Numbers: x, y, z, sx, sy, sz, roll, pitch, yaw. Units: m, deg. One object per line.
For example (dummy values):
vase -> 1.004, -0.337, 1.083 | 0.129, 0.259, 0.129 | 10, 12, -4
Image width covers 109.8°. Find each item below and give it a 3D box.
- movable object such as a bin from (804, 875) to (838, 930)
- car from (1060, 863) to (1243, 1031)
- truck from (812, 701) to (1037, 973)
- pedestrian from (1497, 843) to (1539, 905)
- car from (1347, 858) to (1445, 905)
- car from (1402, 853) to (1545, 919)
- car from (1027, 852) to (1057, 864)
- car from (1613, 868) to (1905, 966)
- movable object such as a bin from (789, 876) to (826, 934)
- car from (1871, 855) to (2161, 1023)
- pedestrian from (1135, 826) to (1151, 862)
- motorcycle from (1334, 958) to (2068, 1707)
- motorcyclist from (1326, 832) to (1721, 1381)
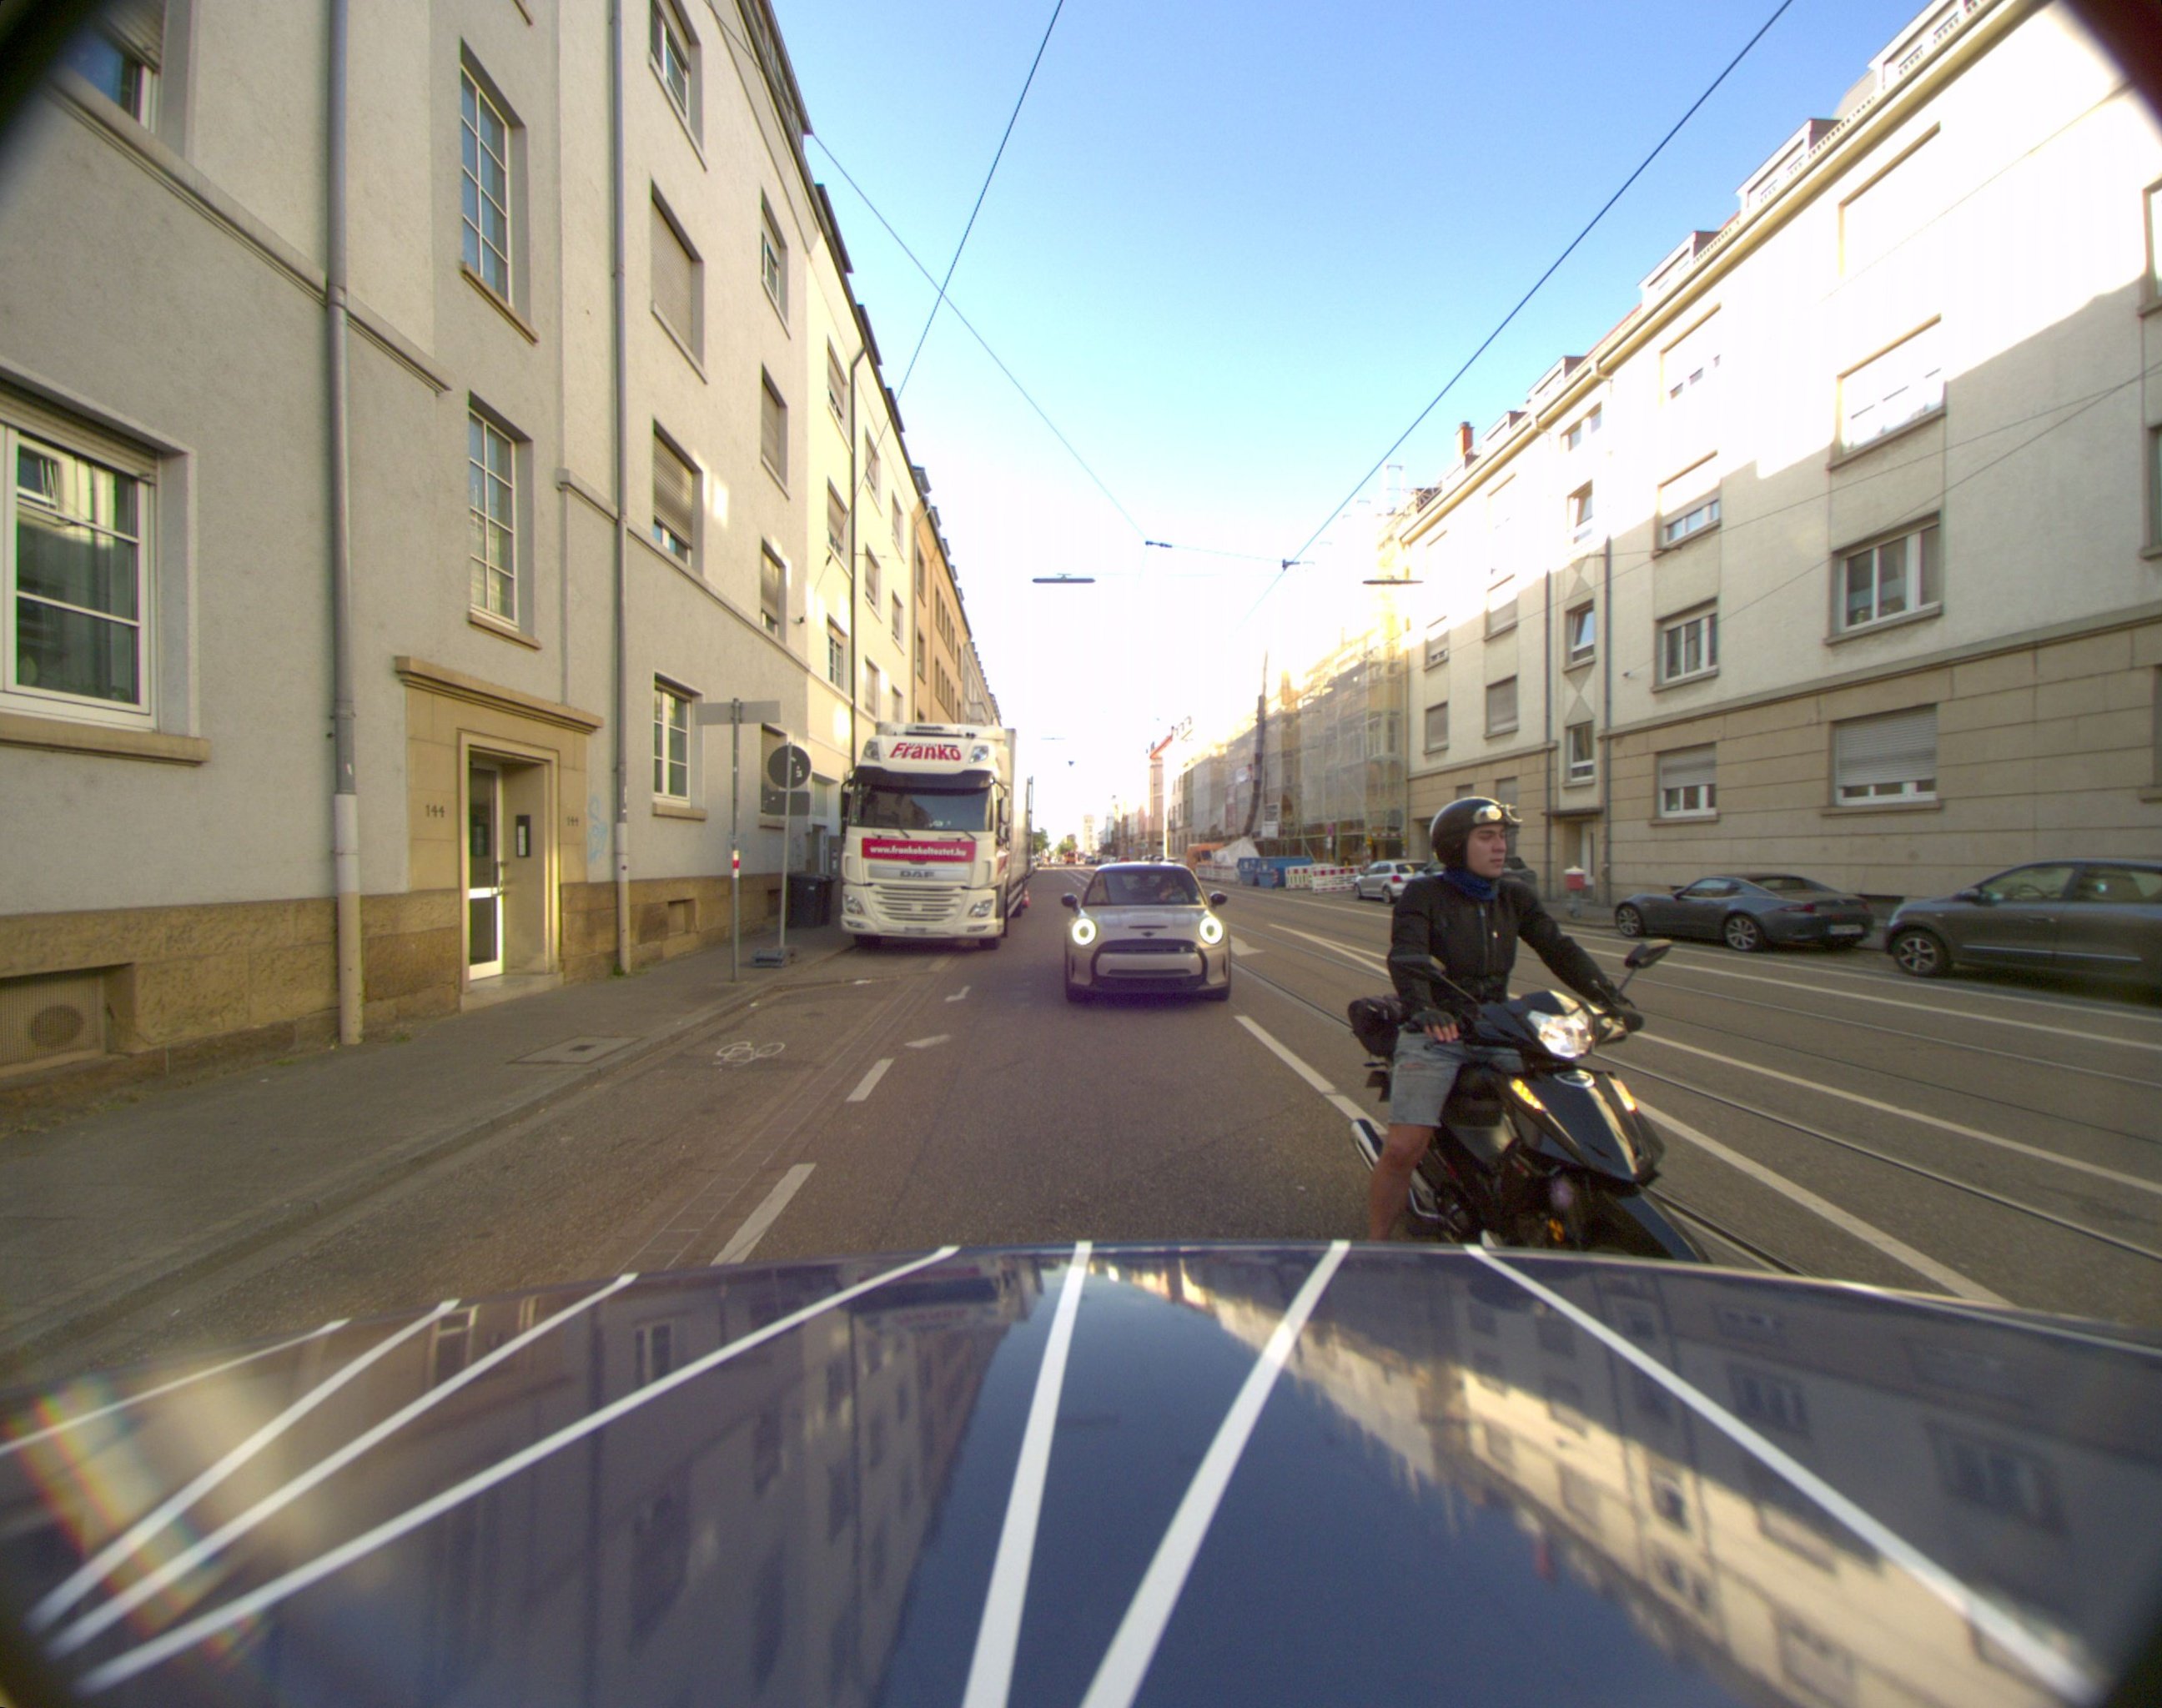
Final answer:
movable object such as a bin -> -5.346, 0.993, 15.630 | 0.512, 1.085, 0.495 | -2, 1, -4
car -> 0.650, 0.889, 9.036 | 1.692, 1.495, 4.000 | 0, 0, 0
truck -> -2.658, -0.251, 17.163 | 2.899, 3.939, 11.704 | -2, 0, -2
pedestrian -> 12.756, 0.571, 22.195 | 0.751, 1.753, 0.776 | -2, 1, 1
car -> 10.635, 0.868, 25.886 | 1.637, 1.383, 3.643 | -2, 1, -3
car -> 10.798, 0.797, 21.257 | 1.712, 1.582, 4.112 | -2, 1, -3
car -> -5.378, 0.568, 104.243 | 3.998, 1.468, 2.149 | -2, 1, -2
car -> 11.238, 0.962, 12.956 | 1.751, 1.269, 3.488 | -2, 1, -4
movable object such as a bin -> -5.397, 0.995, 15.018 | 0.512, 1.085, 0.495 | -2, 1, -4
car -> 11.398, 0.839, 8.373 | 1.670, 1.563, 3.496 | -2, 1, -2
pedestrian -> 7.701, -1.290, 94.339 | 1.723, 4.377, 1.153 | -2, 1, 2
motorcycle -> 1.348, 1.067, 2.230 | 0.538, 1.212, 1.981 | -2, 1, 1
motorcyclist -> 1.322, 0.701, 2.396 | 0.862, 1.496, 0.598 | -2, 1, 1
